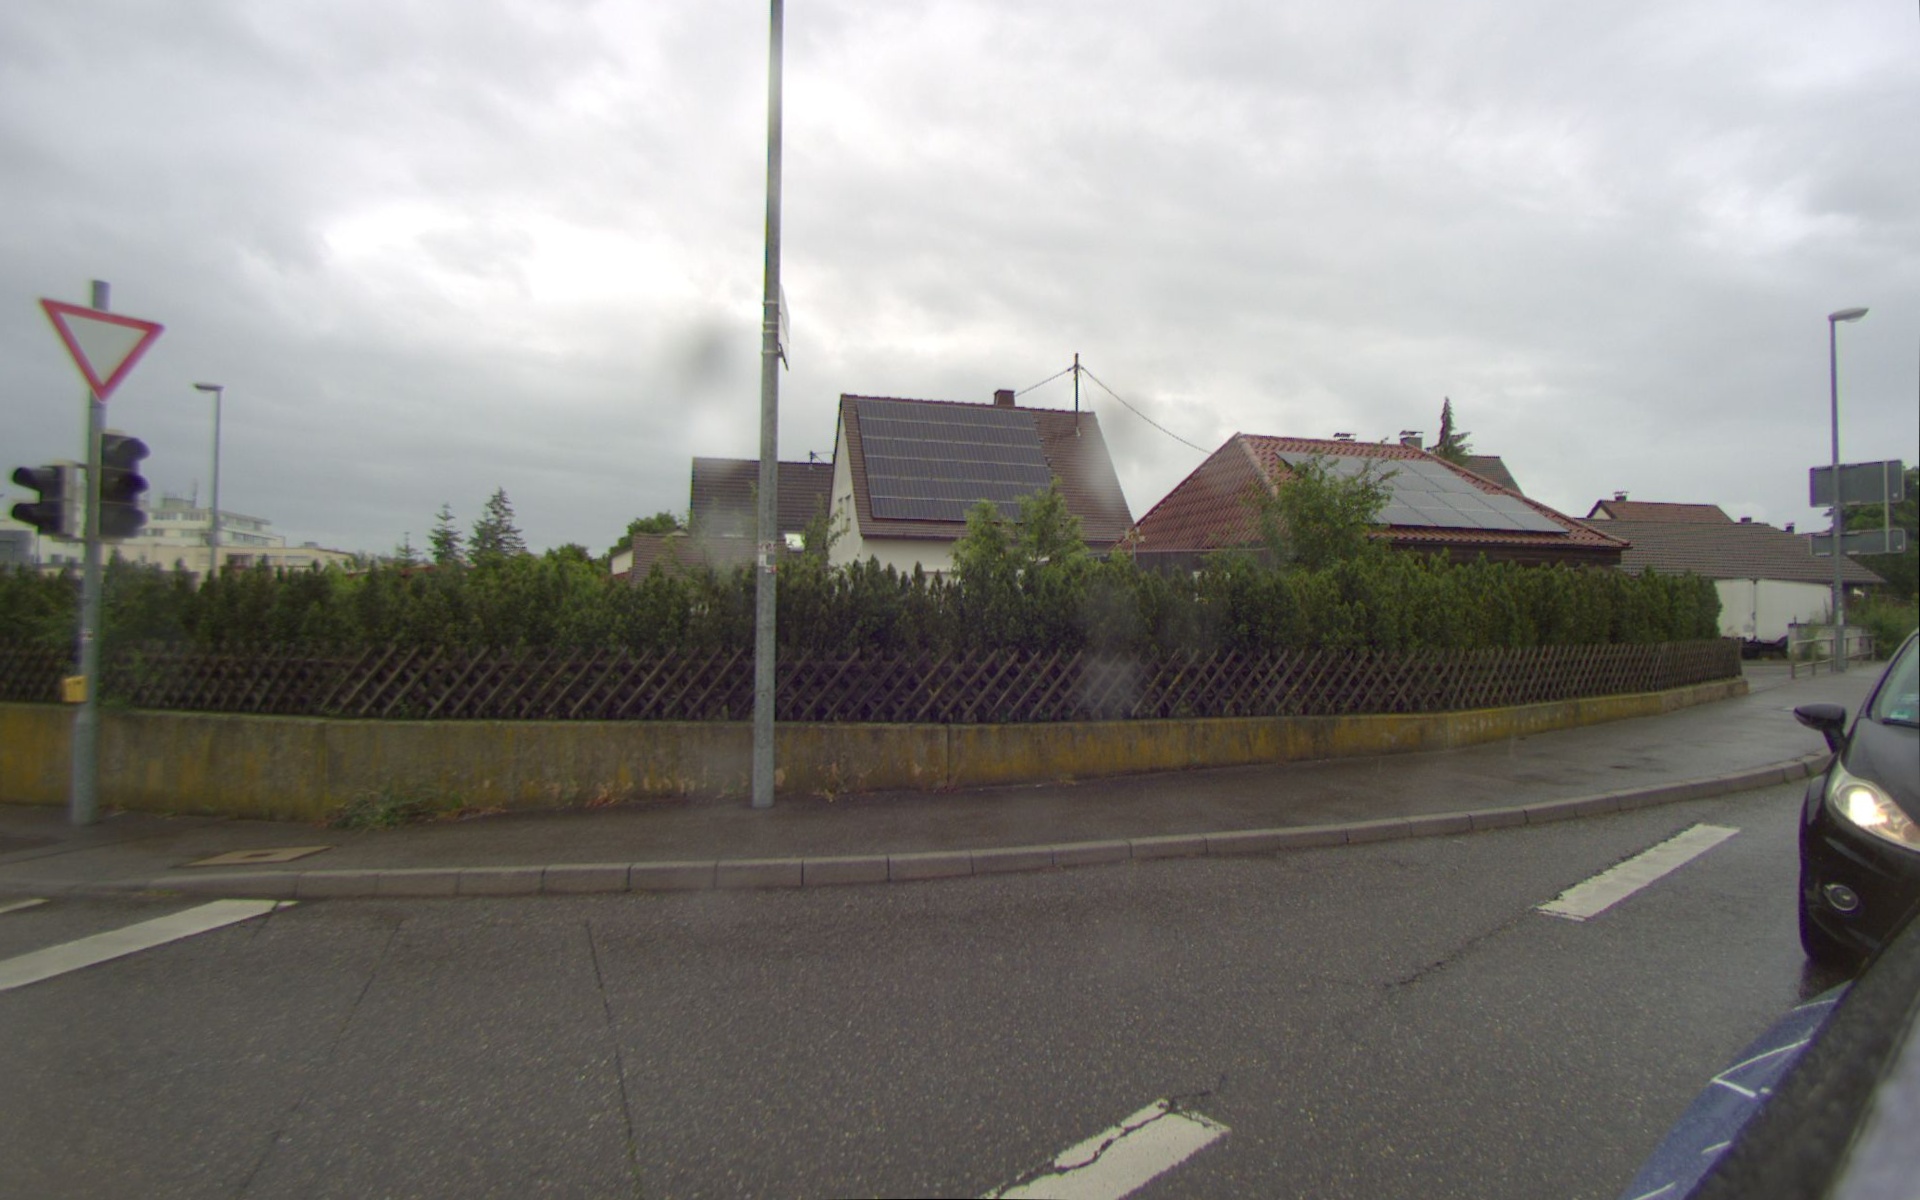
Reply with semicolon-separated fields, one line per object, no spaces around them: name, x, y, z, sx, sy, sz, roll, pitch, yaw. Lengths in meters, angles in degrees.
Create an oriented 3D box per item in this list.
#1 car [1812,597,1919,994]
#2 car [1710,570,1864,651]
car;5.348;0.729;4.723;3.867;1.436;1.663;-1;1;-43
car;25.557;0.300;31.299;3.916;2.380;1.657;0;0;-14
